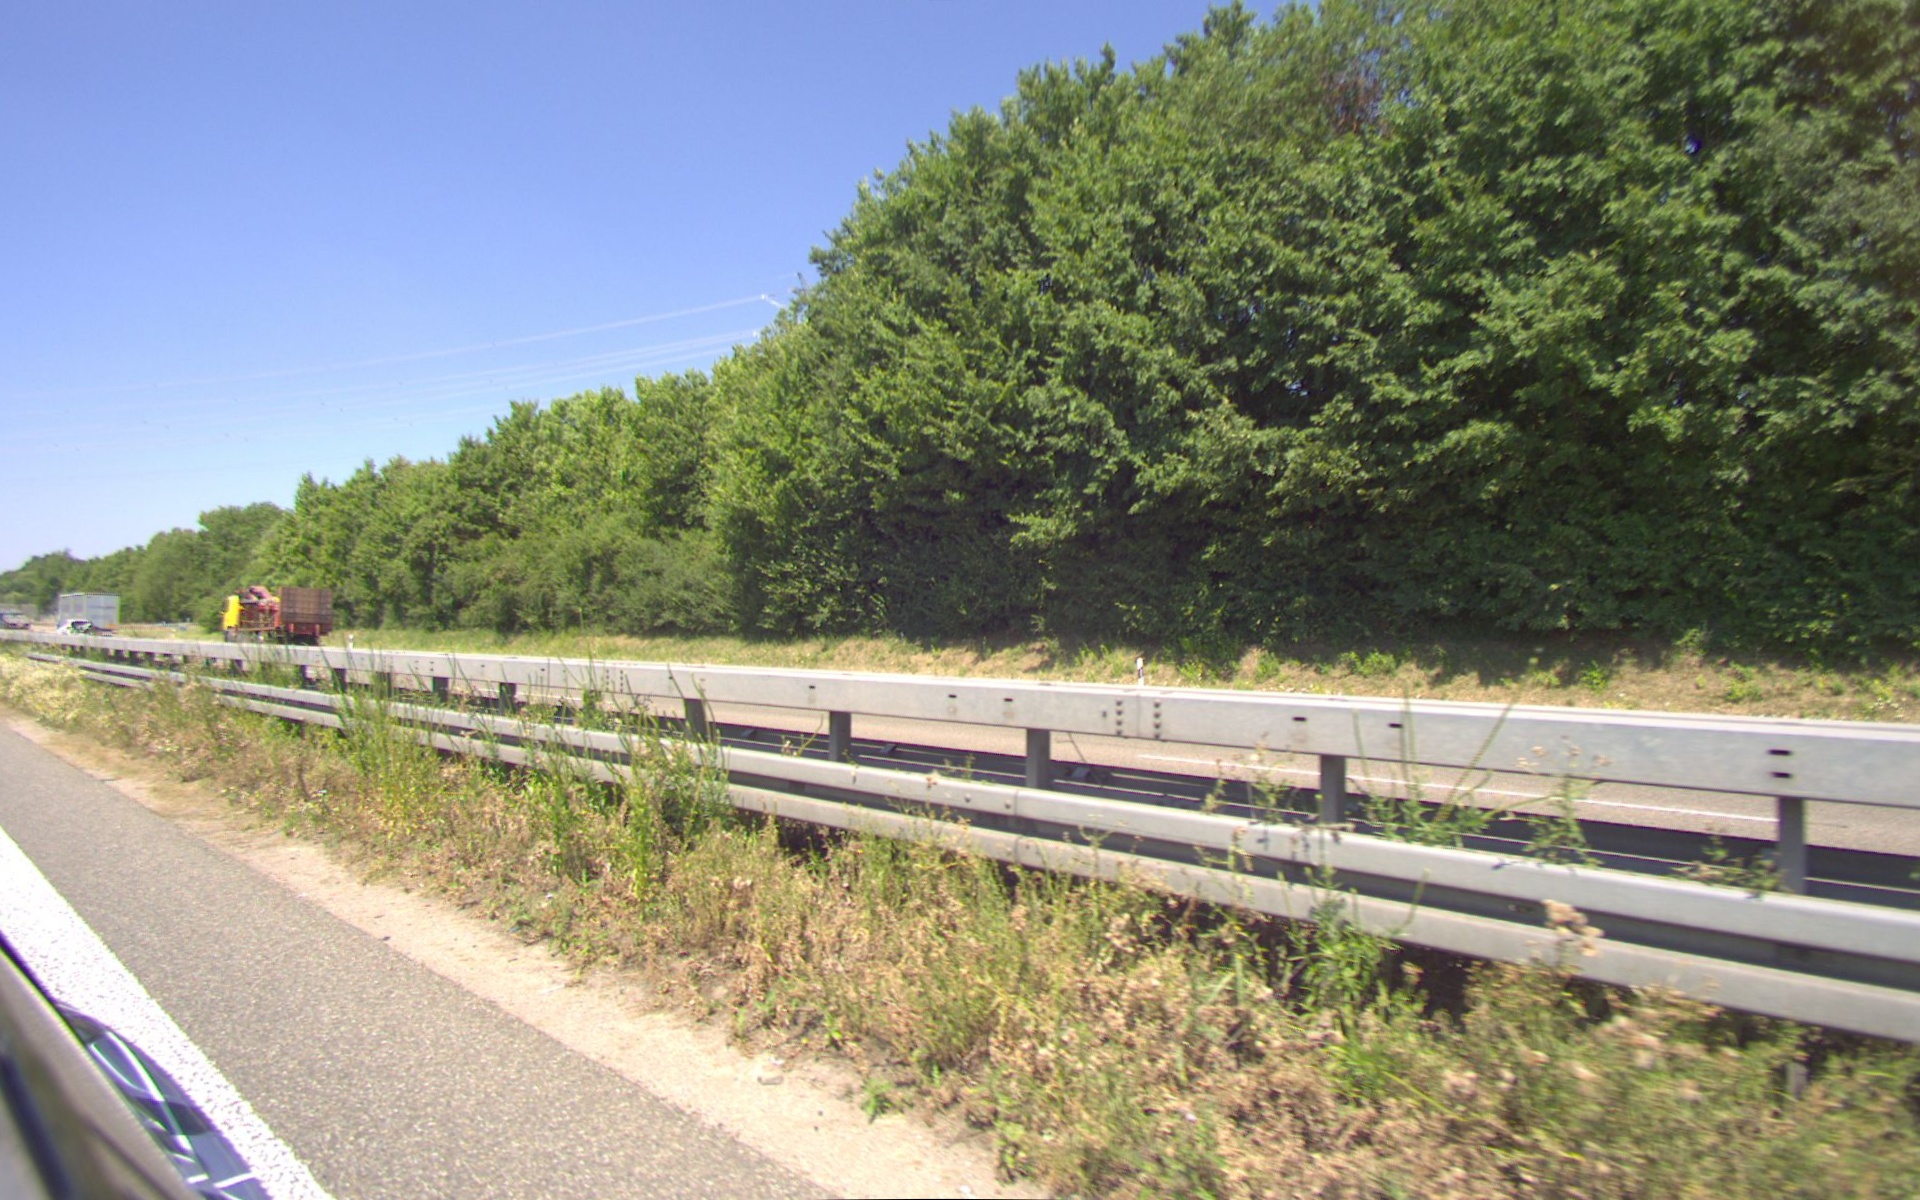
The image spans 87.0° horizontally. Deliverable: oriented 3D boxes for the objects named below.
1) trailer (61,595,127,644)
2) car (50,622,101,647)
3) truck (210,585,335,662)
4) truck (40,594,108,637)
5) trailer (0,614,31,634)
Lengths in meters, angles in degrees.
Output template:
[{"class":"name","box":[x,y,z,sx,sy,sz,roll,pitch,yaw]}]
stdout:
[{"class":"trailer","box":[-80.399,1.723,93.921,7.964,4.312,3.418,-1,0,40]},{"class":"car","box":[-63.302,2.433,72.409,5.608,1.683,1.973,-1,-3,41]},{"class":"truck","box":[-37.013,1.184,54.209,11.152,3.766,2.754,-1,0,41]},{"class":"truck","box":[-87.605,1.538,99.942,11.115,4.025,3.418,-1,-2,40]},{"class":"trailer","box":[-132.883,3.351,141.931,8.531,2.659,3.112,-1,0,43]}]
